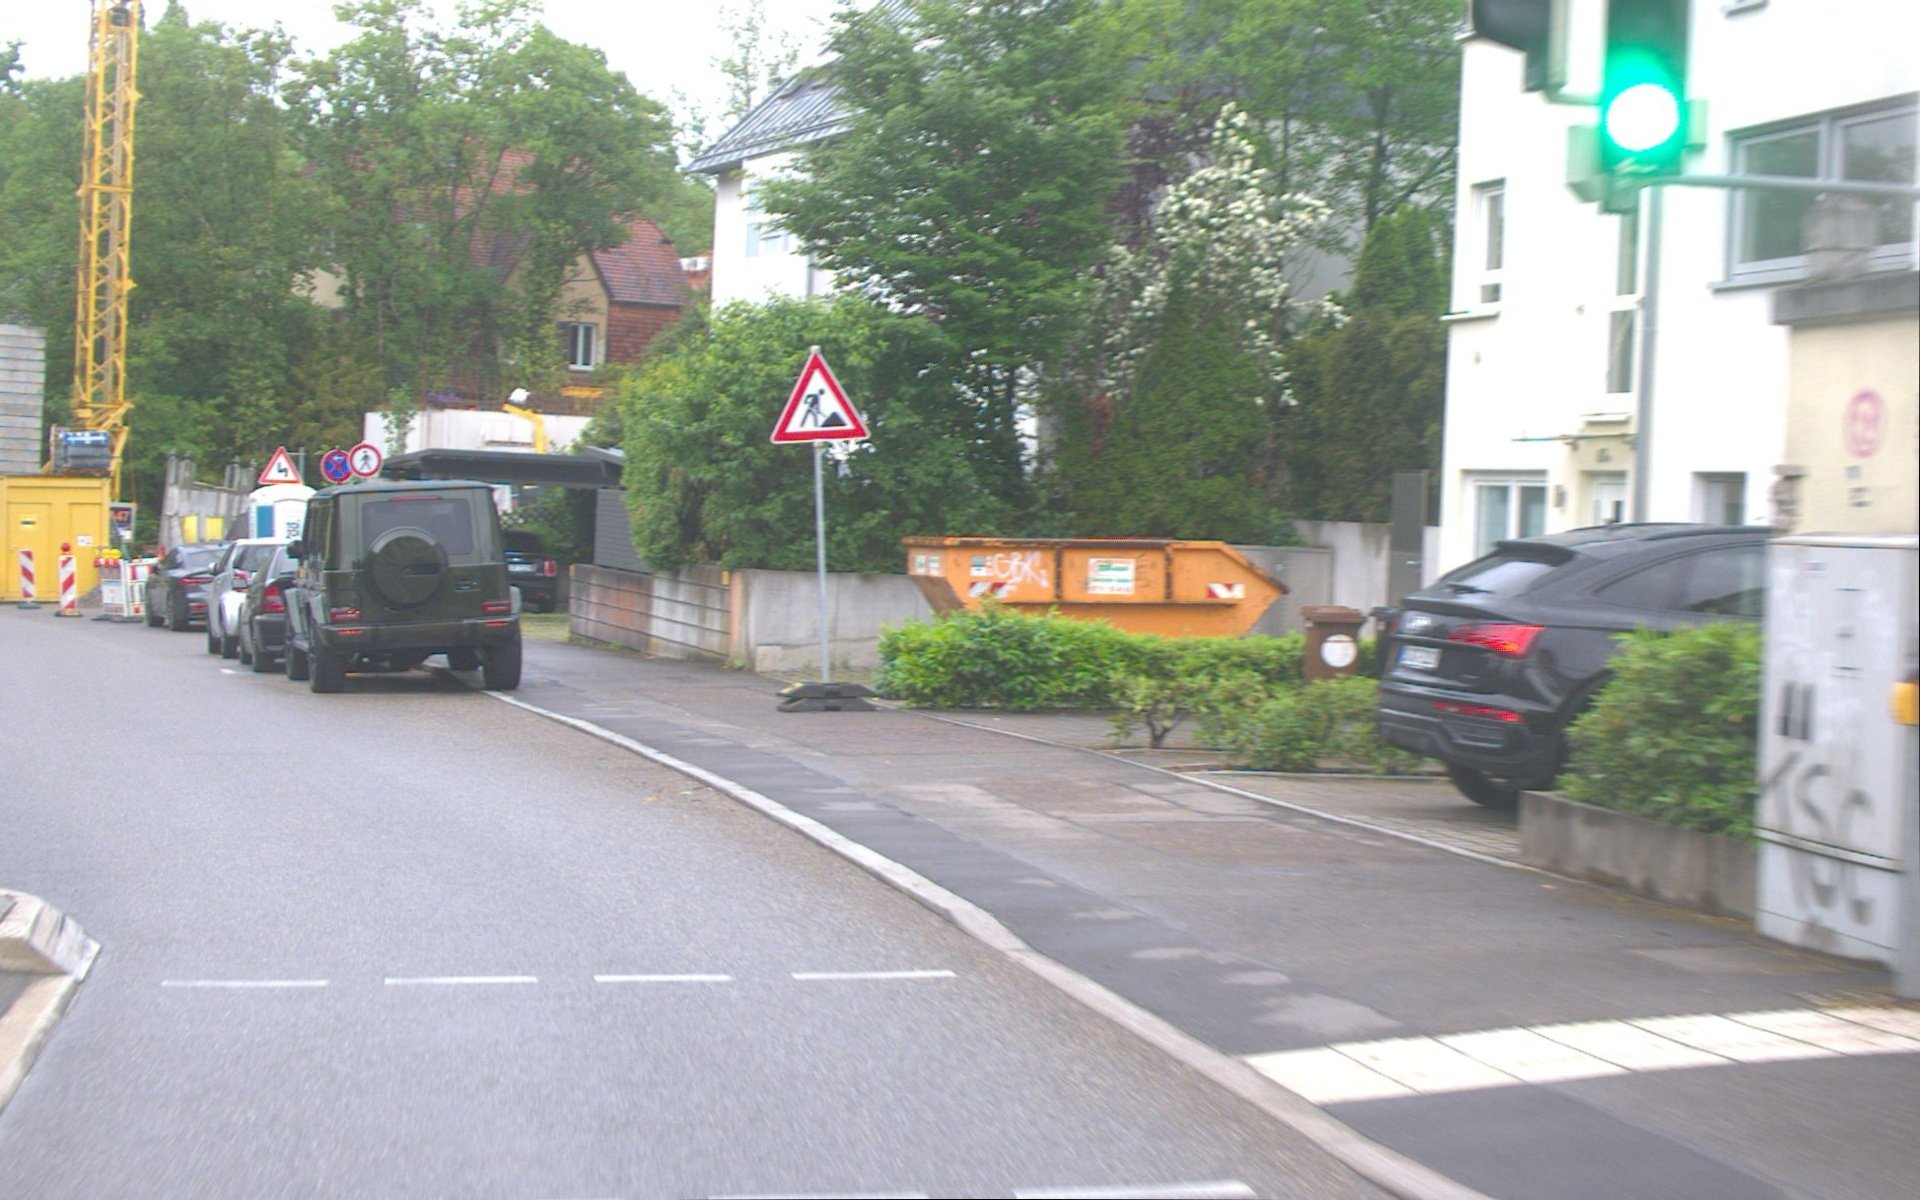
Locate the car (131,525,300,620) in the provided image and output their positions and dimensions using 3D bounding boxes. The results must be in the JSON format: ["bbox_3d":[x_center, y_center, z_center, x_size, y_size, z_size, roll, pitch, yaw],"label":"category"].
[{"bbox_3d":[-12.272,-0.477,56.430,1.931,1.417,4.839,1,1,-21],"label":"car"}]

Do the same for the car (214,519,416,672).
[{"bbox_3d":[-7.329,-0.085,38.755,1.931,1.590,4.396,-1,1,-14],"label":"car"}]

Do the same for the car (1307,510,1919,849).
[{"bbox_3d":[4.353,0.470,19.003,4.326,1.590,1.993,4,0,-14],"label":"car"}]

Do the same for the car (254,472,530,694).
[{"bbox_3d":[-5.688,-0.204,33.945,1.993,2.007,4.958,-1,1,-17],"label":"car"}]

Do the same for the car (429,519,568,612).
[{"bbox_3d":[-8.188,-0.617,60.730,1.694,1.467,4.001,4,0,-17],"label":"car"}]

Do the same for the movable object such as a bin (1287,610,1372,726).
[{"bbox_3d":[3.077,0.563,28.667,0.506,0.938,0.595,1,1,-16],"label":"movable object such as a bin"}]

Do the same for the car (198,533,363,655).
[{"bbox_3d":[-8.493,-0.096,42.780,1.672,1.452,3.387,0,1,-17],"label":"car"}]

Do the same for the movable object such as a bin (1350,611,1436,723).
[{"bbox_3d":[3.628,0.557,28.822,0.506,0.908,0.595,1,1,-16],"label":"movable object such as a bin"}]
